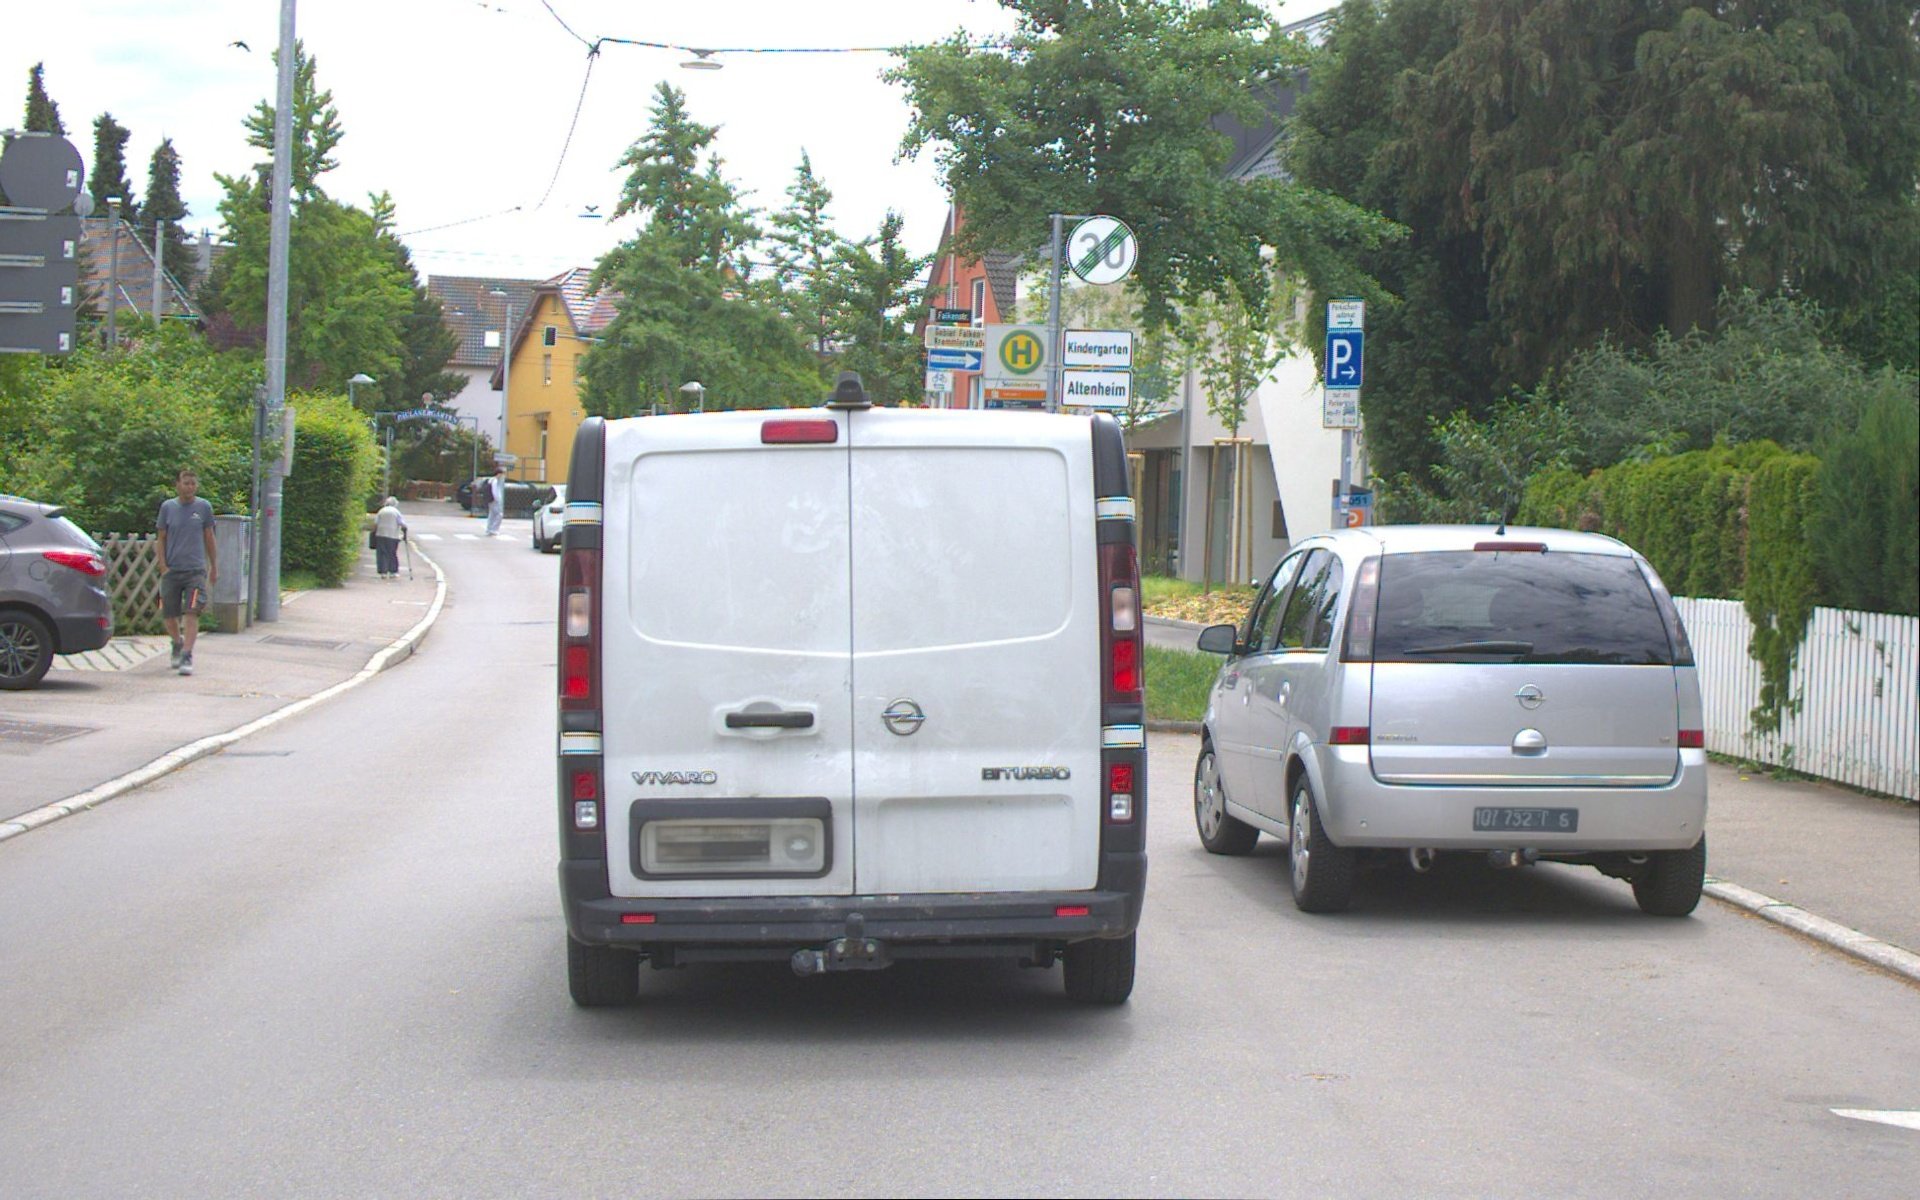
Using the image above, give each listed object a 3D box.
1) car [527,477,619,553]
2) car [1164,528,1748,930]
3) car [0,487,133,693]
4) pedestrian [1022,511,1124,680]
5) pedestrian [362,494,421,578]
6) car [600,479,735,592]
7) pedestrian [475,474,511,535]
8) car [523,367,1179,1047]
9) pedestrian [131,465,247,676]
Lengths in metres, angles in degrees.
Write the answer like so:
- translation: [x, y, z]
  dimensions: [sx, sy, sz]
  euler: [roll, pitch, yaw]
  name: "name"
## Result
- translation: [-9.364, -2.045, 82.947]
  dimensions: [1.993, 1.776, 4.001]
  euler: [1, 1, -9]
  name: "car"
- translation: [2.078, 0.474, 15.546]
  dimensions: [1.759, 1.577, 4.019]
  euler: [0, 1, -4]
  name: "car"
- translation: [-9.448, -0.208, 29.742]
  dimensions: [4.310, 1.690, 1.798]
  euler: [4, 1, -15]
  name: "car"
- translation: [1.150, -0.053, 35.081]
  dimensions: [0.854, 1.639, 0.884]
  euler: [4, 1, -3]
  name: "pedestrian"
- translation: [-10.512, -1.180, 63.600]
  dimensions: [0.876, 1.480, 0.455]
  euler: [4, 1, -29]
  name: "pedestrian"
- translation: [-5.073, -1.118, 59.202]
  dimensions: [1.993, 1.842, 4.001]
  euler: [1, 1, -9]
  name: "car"
- translation: [-12.815, -2.619, 94.367]
  dimensions: [0.804, 1.604, 0.628]
  euler: [4, 1, -14]
  name: "pedestrian"
- translation: [-0.531, 0.292, 12.441]
  dimensions: [1.915, 1.996, 4.439]
  euler: [1, 1, -6]
  name: "car"
- translation: [-7.377, -0.289, 32.947]
  dimensions: [0.733, 1.939, 1.217]
  euler: [4, 1, -1]
  name: "pedestrian"
